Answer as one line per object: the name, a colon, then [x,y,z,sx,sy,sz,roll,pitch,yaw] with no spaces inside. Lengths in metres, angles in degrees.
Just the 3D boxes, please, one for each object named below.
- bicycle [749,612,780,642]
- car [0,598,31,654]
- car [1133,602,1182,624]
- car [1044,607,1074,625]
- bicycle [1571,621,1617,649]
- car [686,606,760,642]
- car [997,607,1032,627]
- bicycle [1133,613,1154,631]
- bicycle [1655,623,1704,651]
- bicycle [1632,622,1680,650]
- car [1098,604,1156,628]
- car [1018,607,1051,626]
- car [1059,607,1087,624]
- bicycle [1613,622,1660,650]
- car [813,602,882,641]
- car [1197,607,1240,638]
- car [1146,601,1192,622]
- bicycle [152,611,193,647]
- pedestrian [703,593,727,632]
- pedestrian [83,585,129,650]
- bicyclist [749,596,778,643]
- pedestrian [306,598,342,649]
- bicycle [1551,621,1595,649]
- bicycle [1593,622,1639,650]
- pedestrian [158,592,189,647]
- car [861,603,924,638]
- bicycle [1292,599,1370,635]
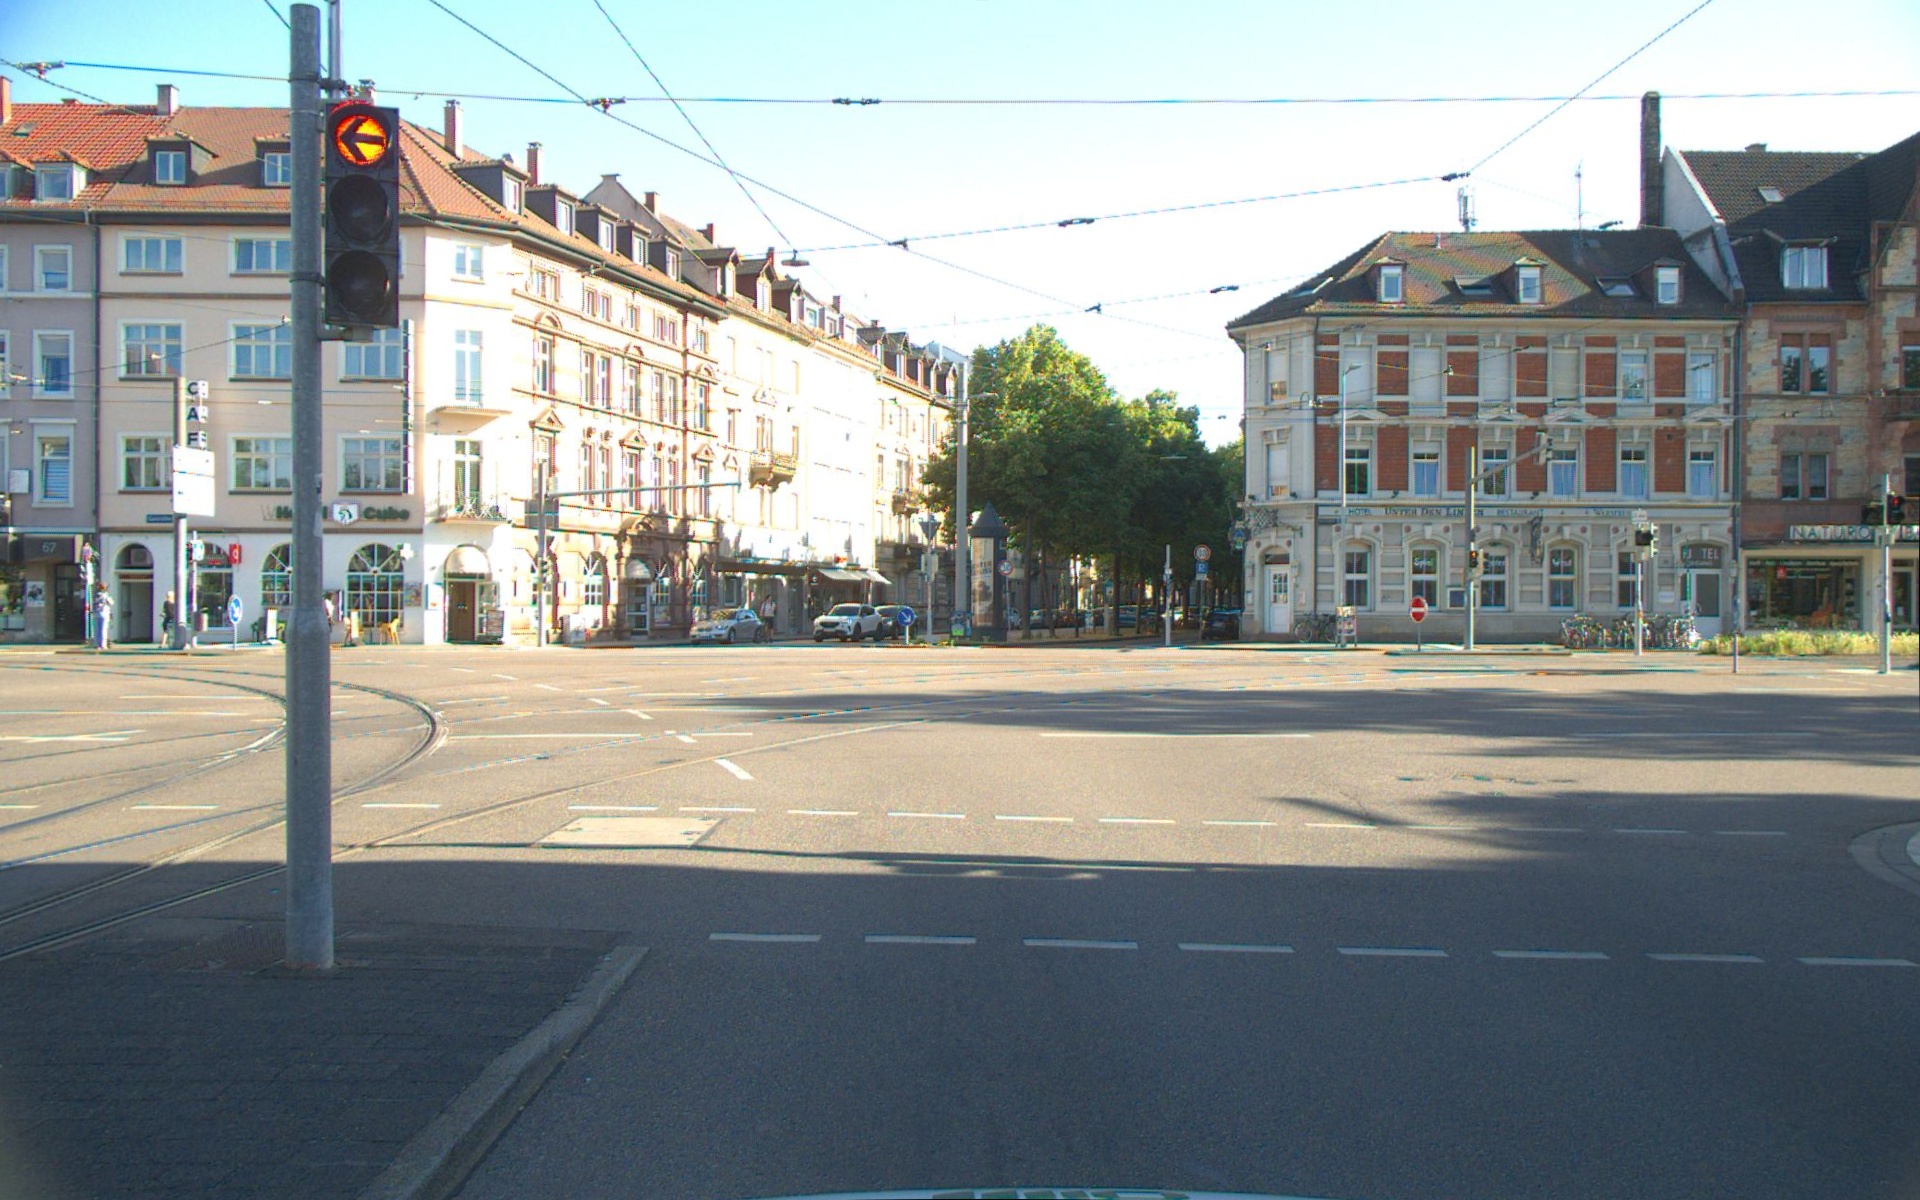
bicycle: [-7.682,1.049,65.125,0.687,1.137,1.636,1,0,13]
car: [-32.151,0.787,52.251,4.276,1.741,2.306,1,0,1]
car: [15.307,0.970,128.249,3.503,1.677,1.684,0,0,16]
car: [7.880,1.224,130.845,1.642,1.378,3.593,0,0,16]
bicycle: [20.481,1.127,53.458,0.645,0.855,2.160,1,0,0]
car: [-9.542,0.935,66.743,1.642,1.378,3.593,0,0,16]
car: [3.812,1.166,115.515,1.642,1.378,3.593,0,0,16]
bicycle: [11.045,1.304,99.629,0.625,1.039,1.840,1,0,-14]
bicycle: [23.280,1.176,53.531,0.645,0.855,2.160,1,0,0]
bicycle: [22.491,1.162,53.485,0.645,0.855,2.160,1,0,0]
car: [11.704,1.125,115.836,3.819,1.677,1.684,0,0,16]
car: [5.522,1.235,122.502,1.642,1.378,3.593,0,0,16]
car: [9.304,1.261,135.897,1.642,1.378,3.593,0,0,16]
bicycle: [21.864,1.151,53.506,0.645,0.855,2.160,1,0,0]
car: [-4.537,0.846,67.226,1.642,1.509,3.774,0,0,16]
car: [12.954,1.113,82.751,1.642,1.509,3.950,0,0,16]
car: [16.929,0.897,133.749,3.503,1.677,1.684,0,0,16]
bicycle: [-24.670,0.914,51.809,0.561,1.096,1.497,1,0,-1]
pedestrian: [-10.842,0.556,73.276,0.759,1.699,0.831,1,-1,15]
pedestrian: [-21.353,0.440,41.359,0.539,1.605,0.832,1,-1,27]
bicyclist: [-7.716,0.769,65.003,0.761,1.834,1.056,1,-1,13]
pedestrian: [-20.260,0.734,52.665,0.715,1.605,0.828,0,-1,43]
bicycle: [19.762,1.115,53.371,0.645,0.855,2.160,1,0,0]
bicycle: [21.193,1.140,53.472,0.645,0.855,2.160,1,0,0]
pedestrian: [-24.665,0.612,51.865,0.570,1.699,0.752,1,-1,-1]
car: [-2.951,0.891,73.551,1.642,1.509,3.950,0,0,16]
bicycle: [12.866,0.595,57.460,2.504,1.194,0.818,1,-1,-4]
